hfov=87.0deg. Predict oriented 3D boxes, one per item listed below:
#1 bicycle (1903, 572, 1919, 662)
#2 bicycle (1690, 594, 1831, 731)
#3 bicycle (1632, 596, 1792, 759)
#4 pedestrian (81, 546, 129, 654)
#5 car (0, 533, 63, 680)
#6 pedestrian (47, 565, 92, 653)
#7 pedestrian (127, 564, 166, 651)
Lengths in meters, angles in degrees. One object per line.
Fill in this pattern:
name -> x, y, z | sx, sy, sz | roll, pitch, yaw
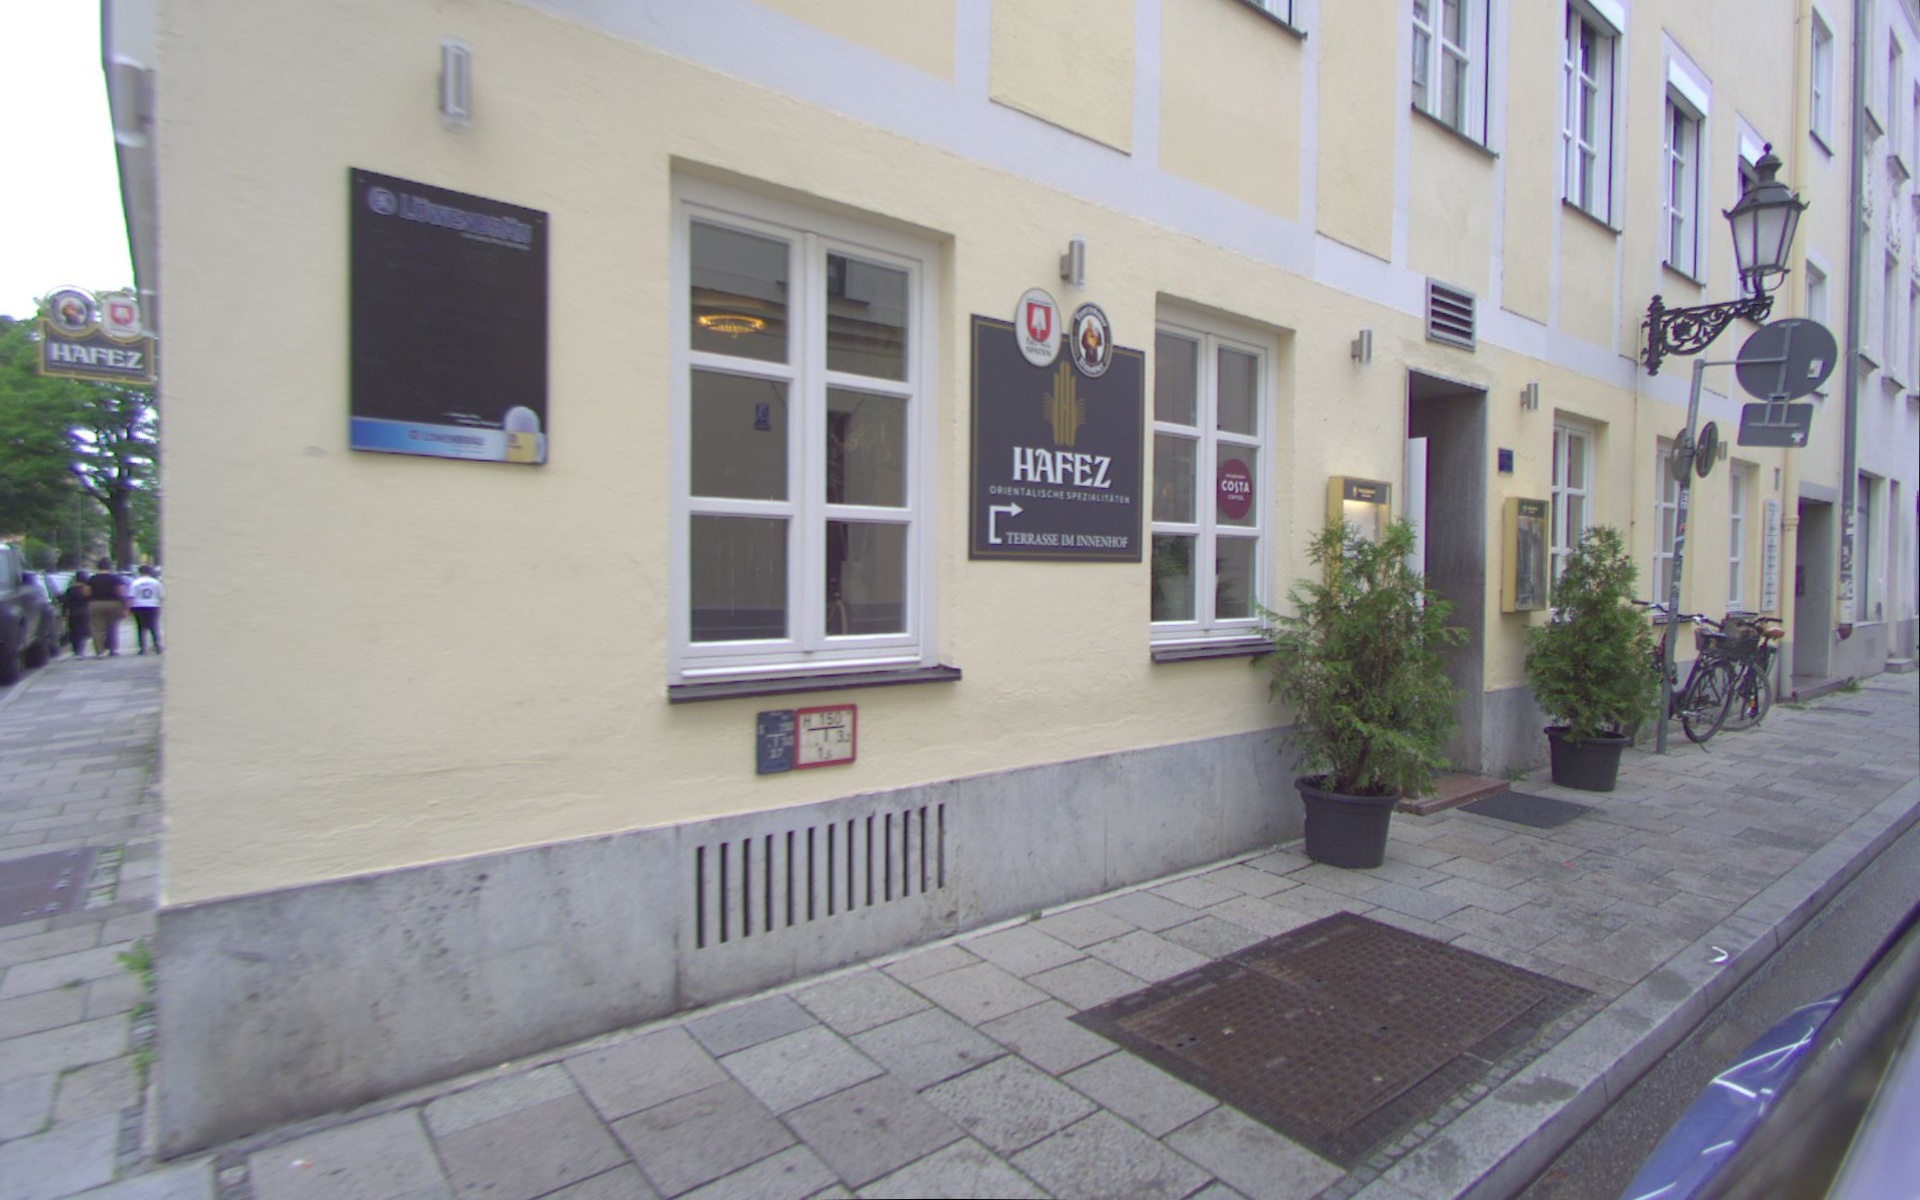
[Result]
bicycle -> 16.151, 0.281, 16.490 | 2.082, 1.412, 0.716 | 0, 4, -37
bicycle -> 7.670, 0.542, 9.666 | 1.951, 1.150, 0.567 | 0, 4, -38
bicycle -> 6.084, 0.567, 8.156 | 1.653, 1.150, 0.567 | 0, 4, -38
pedestrian -> -13.855, -0.013, 16.406 | 0.548, 1.705, 0.518 | 0, 2, -35
car -> -14.344, 0.021, 14.222 | 2.052, 1.869, 4.719 | 2, 0, -36
pedestrian -> -14.416, 0.137, 16.395 | 0.481, 1.385, 0.518 | 0, 2, -35
pedestrian -> -13.754, 0.121, 17.116 | 0.481, 1.439, 0.518 | 0, 2, -35
